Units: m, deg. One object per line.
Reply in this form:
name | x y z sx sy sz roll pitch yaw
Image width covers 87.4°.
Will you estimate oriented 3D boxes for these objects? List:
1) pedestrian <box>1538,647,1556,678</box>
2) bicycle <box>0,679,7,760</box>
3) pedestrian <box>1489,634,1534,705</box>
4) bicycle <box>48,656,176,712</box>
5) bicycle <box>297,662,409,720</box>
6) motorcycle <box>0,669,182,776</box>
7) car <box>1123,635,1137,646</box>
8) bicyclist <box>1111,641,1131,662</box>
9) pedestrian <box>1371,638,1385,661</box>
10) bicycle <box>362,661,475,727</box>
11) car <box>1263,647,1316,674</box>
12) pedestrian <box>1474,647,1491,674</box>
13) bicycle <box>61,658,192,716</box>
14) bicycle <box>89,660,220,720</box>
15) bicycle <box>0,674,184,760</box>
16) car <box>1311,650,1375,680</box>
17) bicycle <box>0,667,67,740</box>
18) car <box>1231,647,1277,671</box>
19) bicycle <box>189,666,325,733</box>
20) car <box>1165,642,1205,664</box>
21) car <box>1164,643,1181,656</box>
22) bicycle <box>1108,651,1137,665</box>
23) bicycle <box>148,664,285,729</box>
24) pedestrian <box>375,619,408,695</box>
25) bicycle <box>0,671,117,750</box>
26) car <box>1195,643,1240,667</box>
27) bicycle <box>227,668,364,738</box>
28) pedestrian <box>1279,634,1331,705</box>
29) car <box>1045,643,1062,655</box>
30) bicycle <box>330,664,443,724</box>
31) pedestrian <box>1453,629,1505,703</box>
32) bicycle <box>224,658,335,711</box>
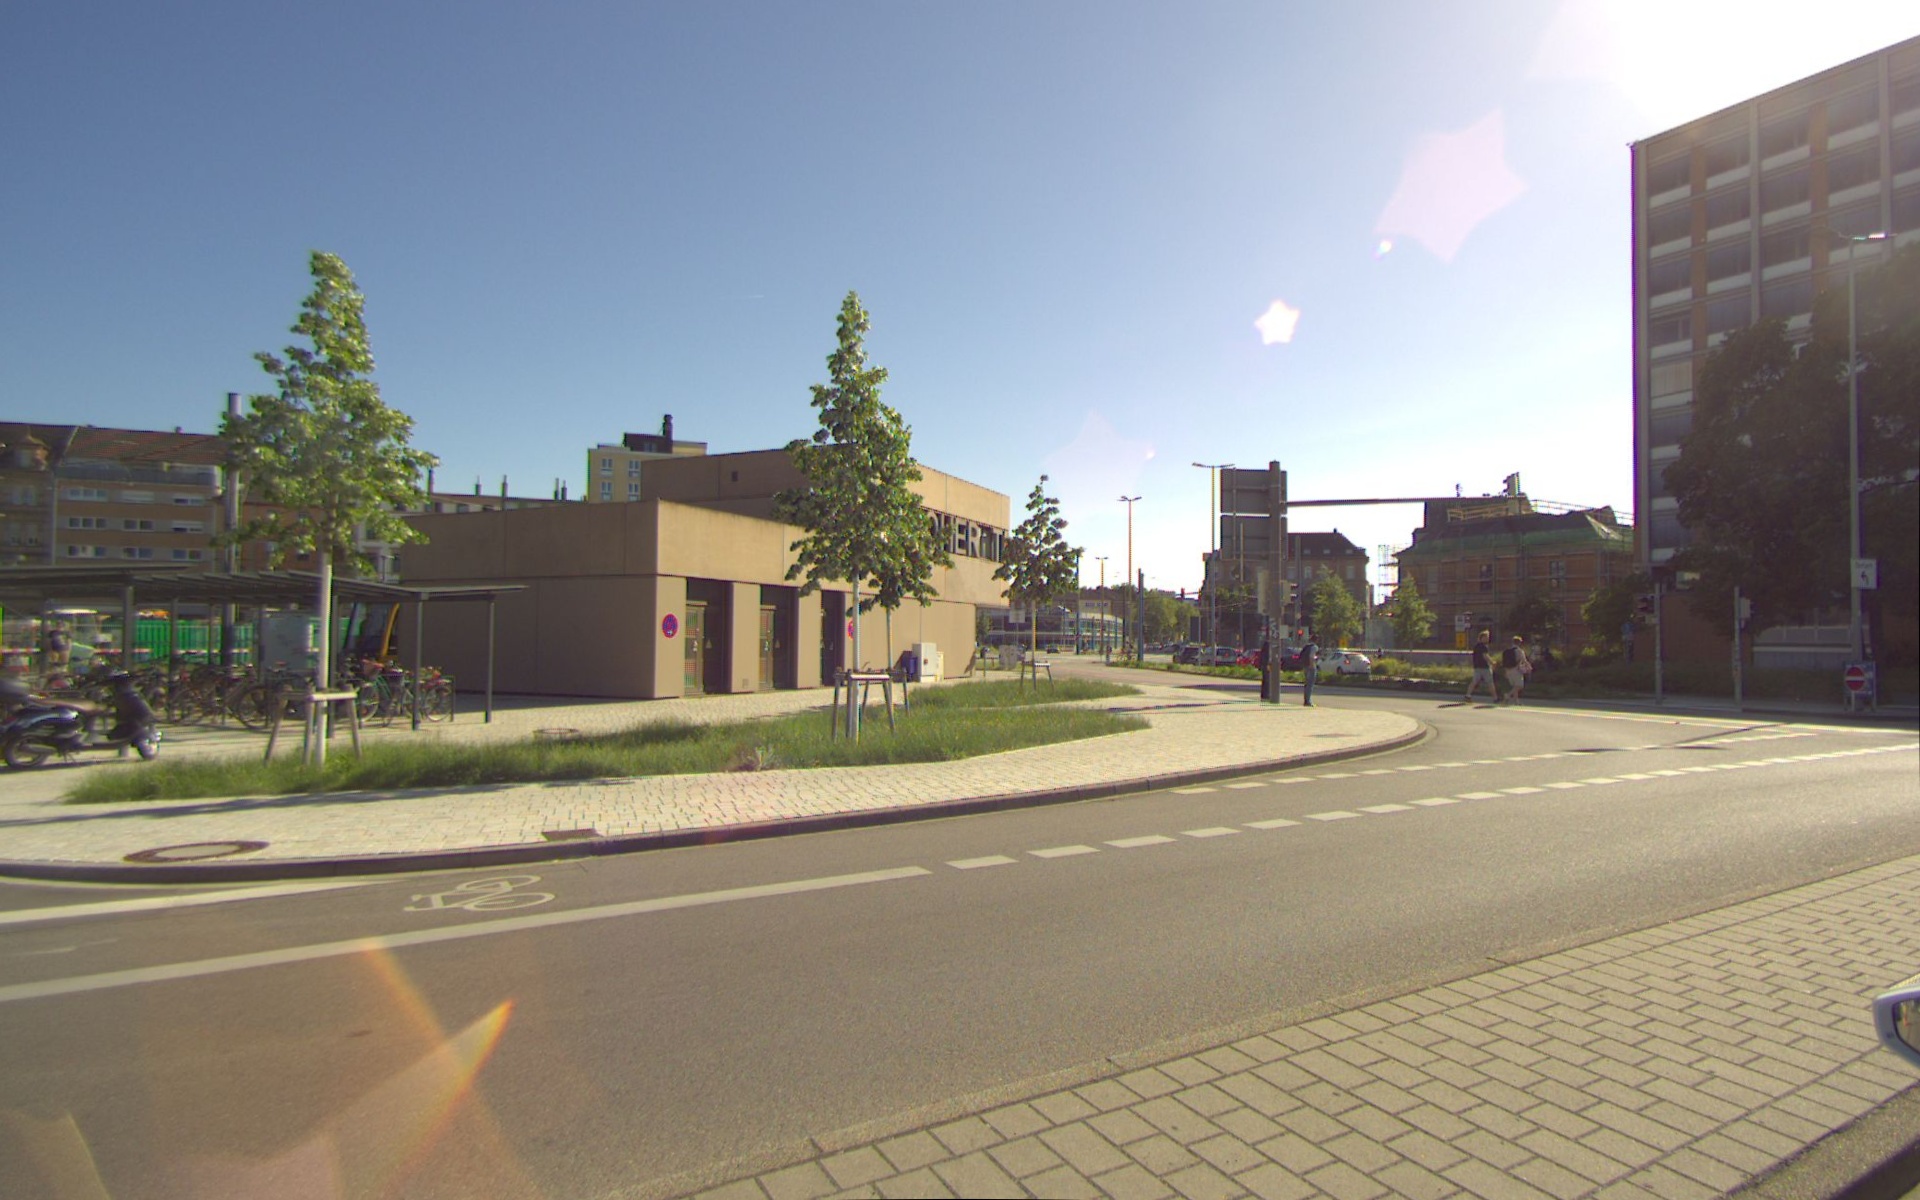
pedestrian | 33.530 3.578 57.390 0.754 1.753 0.675 2 -2 -39
bicycle | -12.741 1.484 12.001 0.449 1.022 1.902 0 -2 26
pedestrian | 13.912 1.743 25.343 0.748 1.753 0.680 1 -2 -16
bicycle | -16.695 1.638 19.837 0.449 1.022 1.902 0 -2 26
bicycle | -11.792 1.743 19.575 0.449 1.022 1.902 0 -2 26
motorcycle | -10.915 1.475 12.468 0.508 1.166 1.947 0 -2 25
car | 34.176 8.141 201.962 1.961 2.040 3.998 2 0 23
bicyclist | 13.598 4.322 84.813 1.544 1.655 0.811 2 0 5
pedestrian | 31.553 3.720 75.877 0.674 1.753 0.755 1 -2 -29
bicycle | -9.923 1.696 18.488 0.449 1.112 1.902 0 -2 26
car | 20.551 3.764 62.783 1.760 1.528 3.880 1 -2 -6
pedestrian | 33.343 3.854 64.136 0.752 1.753 0.677 2 -2 -32
bicycle | -15.913 1.643 19.238 0.449 1.022 1.902 0 -2 26
bicycle | -15.077 1.655 18.863 0.449 1.022 1.902 0 -2 26
bicycle | -11.810 1.556 13.721 0.449 1.022 1.902 0 -2 26
car | 21.258 3.591 55.931 1.760 1.528 3.880 1 -2 -6
bicycle | -14.154 1.508 14.444 0.449 1.022 1.902 0 -2 26
car | 20.215 4.029 69.247 1.760 1.528 3.880 1 -2 -6
bicycle | -11.884 1.652 17.057 0.449 1.022 1.902 0 -2 26
car | 16.787 3.926 74.995 1.760 1.528 3.880 1 -2 -6
car | 36.370 8.459 171.676 1.760 2.040 3.993 0 -2 29
bicycle | 13.706 4.870 84.814 2.370 1.076 0.811 2 0 5
bicycle | -12.894 1.648 17.488 0.449 1.022 1.902 0 -2 26
pedestrian | -15.628 1.550 27.622 0.710 2.040 0.682 2 -1 -30
bicycle | -13.025 1.536 14.013 0.449 1.022 1.902 0 -2 26
car | 17.468 3.690 68.268 1.760 1.528 3.880 1 -2 -6
bicycle | -10.906 1.662 16.568 0.449 1.022 1.902 0 -2 26
pedestrian | 8.668 1.738 25.246 1.044 1.753 0.652 1 -2 -16
car | 13.581 7.162 146.200 1.709 1.672 4.002 0 -2 17
bicycle | -10.702 1.733 18.817 0.449 1.022 1.902 0 -2 26
pedestrian | 13.540 1.698 26.206 0.895 1.887 0.813 1 -2 -16
bicycle | -14.068 1.728 20.827 0.449 1.022 1.902 0 -2 26
